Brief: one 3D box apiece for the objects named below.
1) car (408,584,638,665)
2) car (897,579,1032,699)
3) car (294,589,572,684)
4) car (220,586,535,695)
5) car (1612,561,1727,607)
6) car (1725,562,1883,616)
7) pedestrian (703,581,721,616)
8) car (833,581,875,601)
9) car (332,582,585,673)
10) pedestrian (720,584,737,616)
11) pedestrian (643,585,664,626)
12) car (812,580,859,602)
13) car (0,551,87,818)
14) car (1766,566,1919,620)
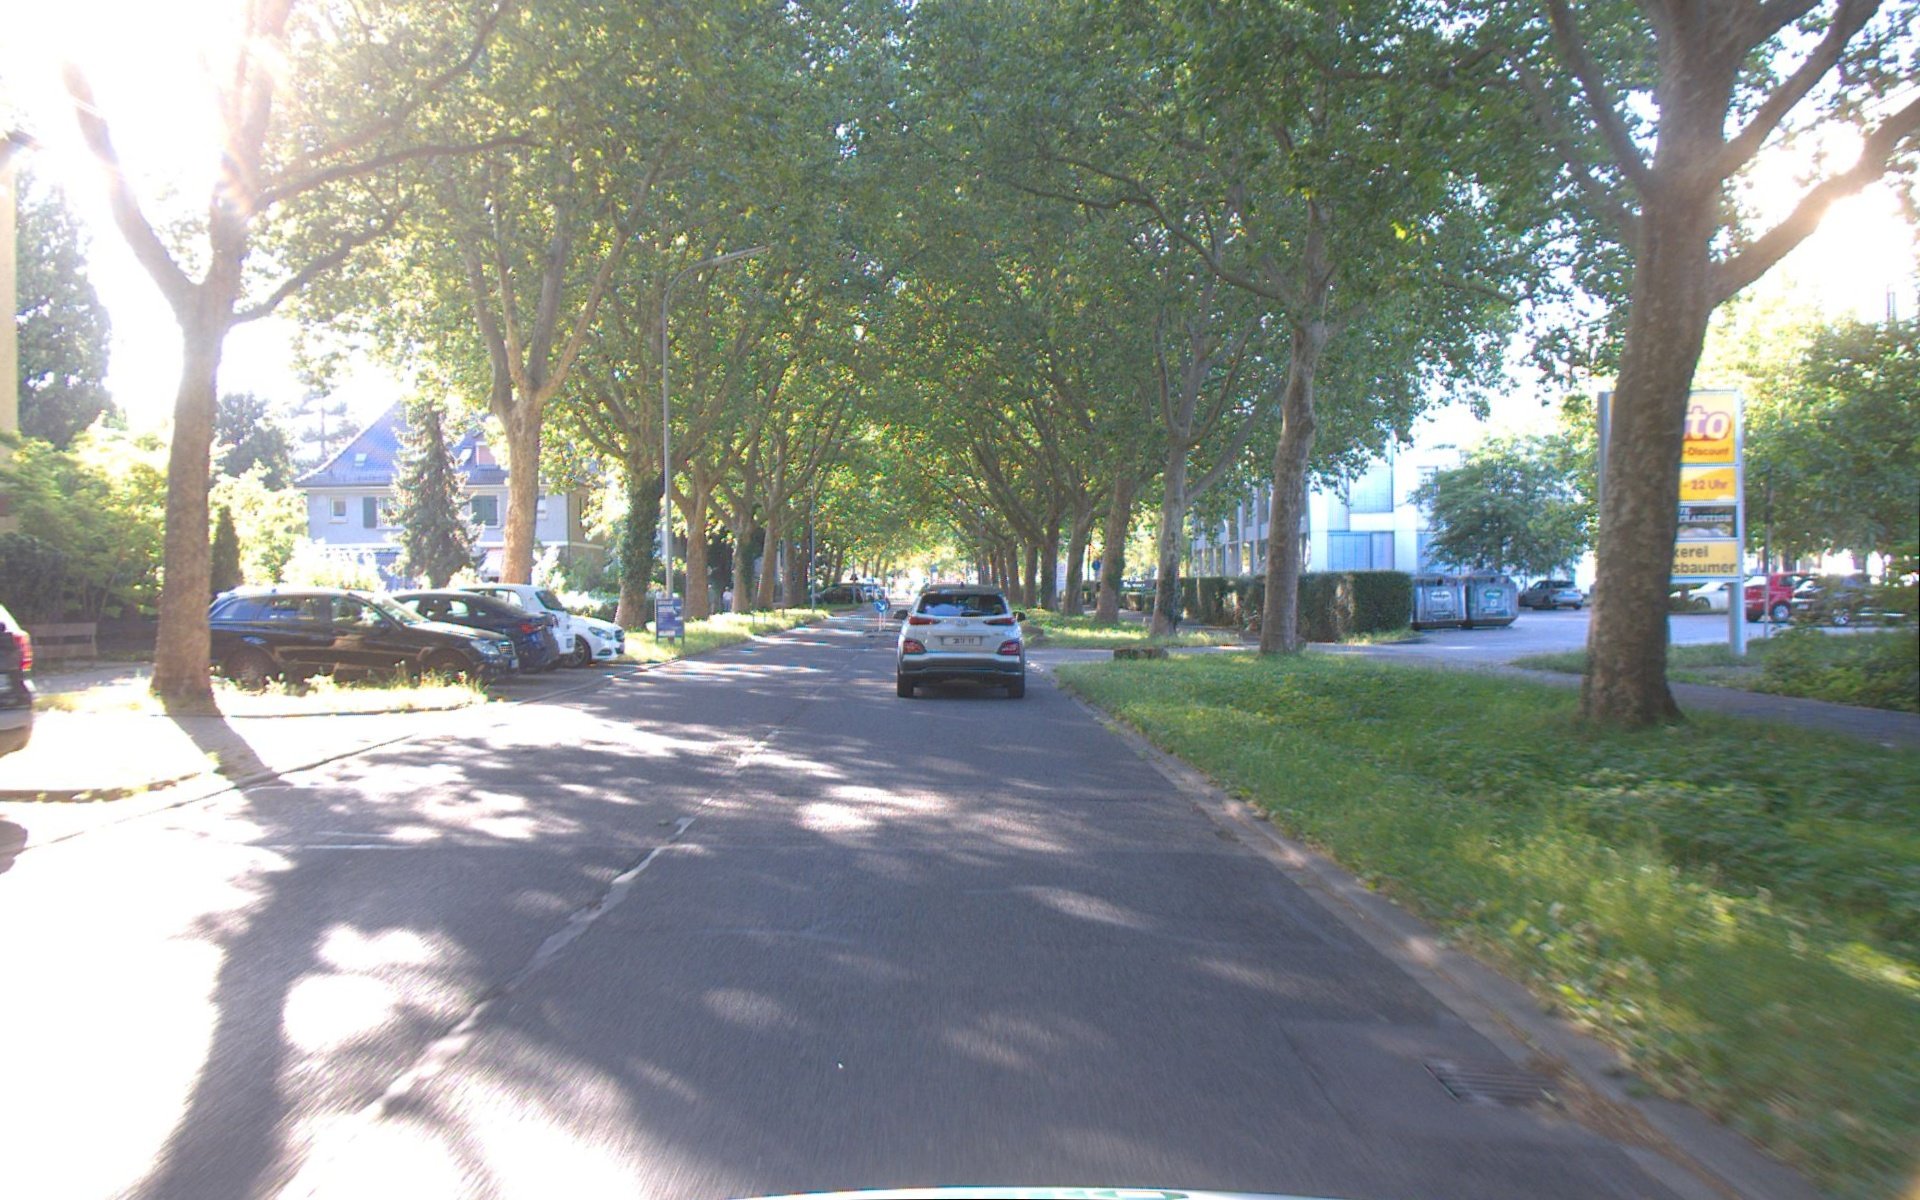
[{"bbox_3d":[-8.292,0.443,31.606,3.905,1.496,1.809,0,0,0],"label":"car"},{"bbox_3d":[0.017,0.523,24.256,1.798,1.583,3.999,1,0,-1],"label":"car"},{"bbox_3d":[-8.307,0.551,26.382,3.909,1.449,1.807,0,0,-6],"label":"car"},{"bbox_3d":[-8.312,0.554,23.864,3.907,1.496,1.780,0,0,-2],"label":"car"},{"bbox_3d":[29.414,-0.643,68.639,3.904,1.803,2.001,-1,0,2],"label":"car"},{"bbox_3d":[25.477,-0.338,49.995,3.910,1.594,1.861,0,1,-6],"label":"car"},{"bbox_3d":[-13.787,-0.081,91.943,0.740,1.907,0.786,1,0,-27],"label":"pedestrian"},{"bbox_3d":[-10.071,-0.858,157.324,3.910,1.803,1.998,0,1,-6],"label":"car"},{"bbox_3d":[-8.715,0.456,28.997,3.907,1.546,1.808,0,0,-2],"label":"car"},{"bbox_3d":[-12.883,0.007,92.110,0.740,1.737,0.787,1,0,-25],"label":"pedestrian"},{"bbox_3d":[-13.079,0.249,70.632,0.734,1.737,0.793,0,0,-1],"label":"pedestrian"},{"bbox_3d":[-10.429,-0.776,138.273,3.910,1.803,1.997,0,0,-6],"label":"car"},{"bbox_3d":[-8.230,0.553,10.778,4.158,1.709,1.670,0,0,-2],"label":"car"},{"bbox_3d":[25.023,-0.211,46.476,3.910,1.466,1.861,-1,1,-6],"label":"car"}]
